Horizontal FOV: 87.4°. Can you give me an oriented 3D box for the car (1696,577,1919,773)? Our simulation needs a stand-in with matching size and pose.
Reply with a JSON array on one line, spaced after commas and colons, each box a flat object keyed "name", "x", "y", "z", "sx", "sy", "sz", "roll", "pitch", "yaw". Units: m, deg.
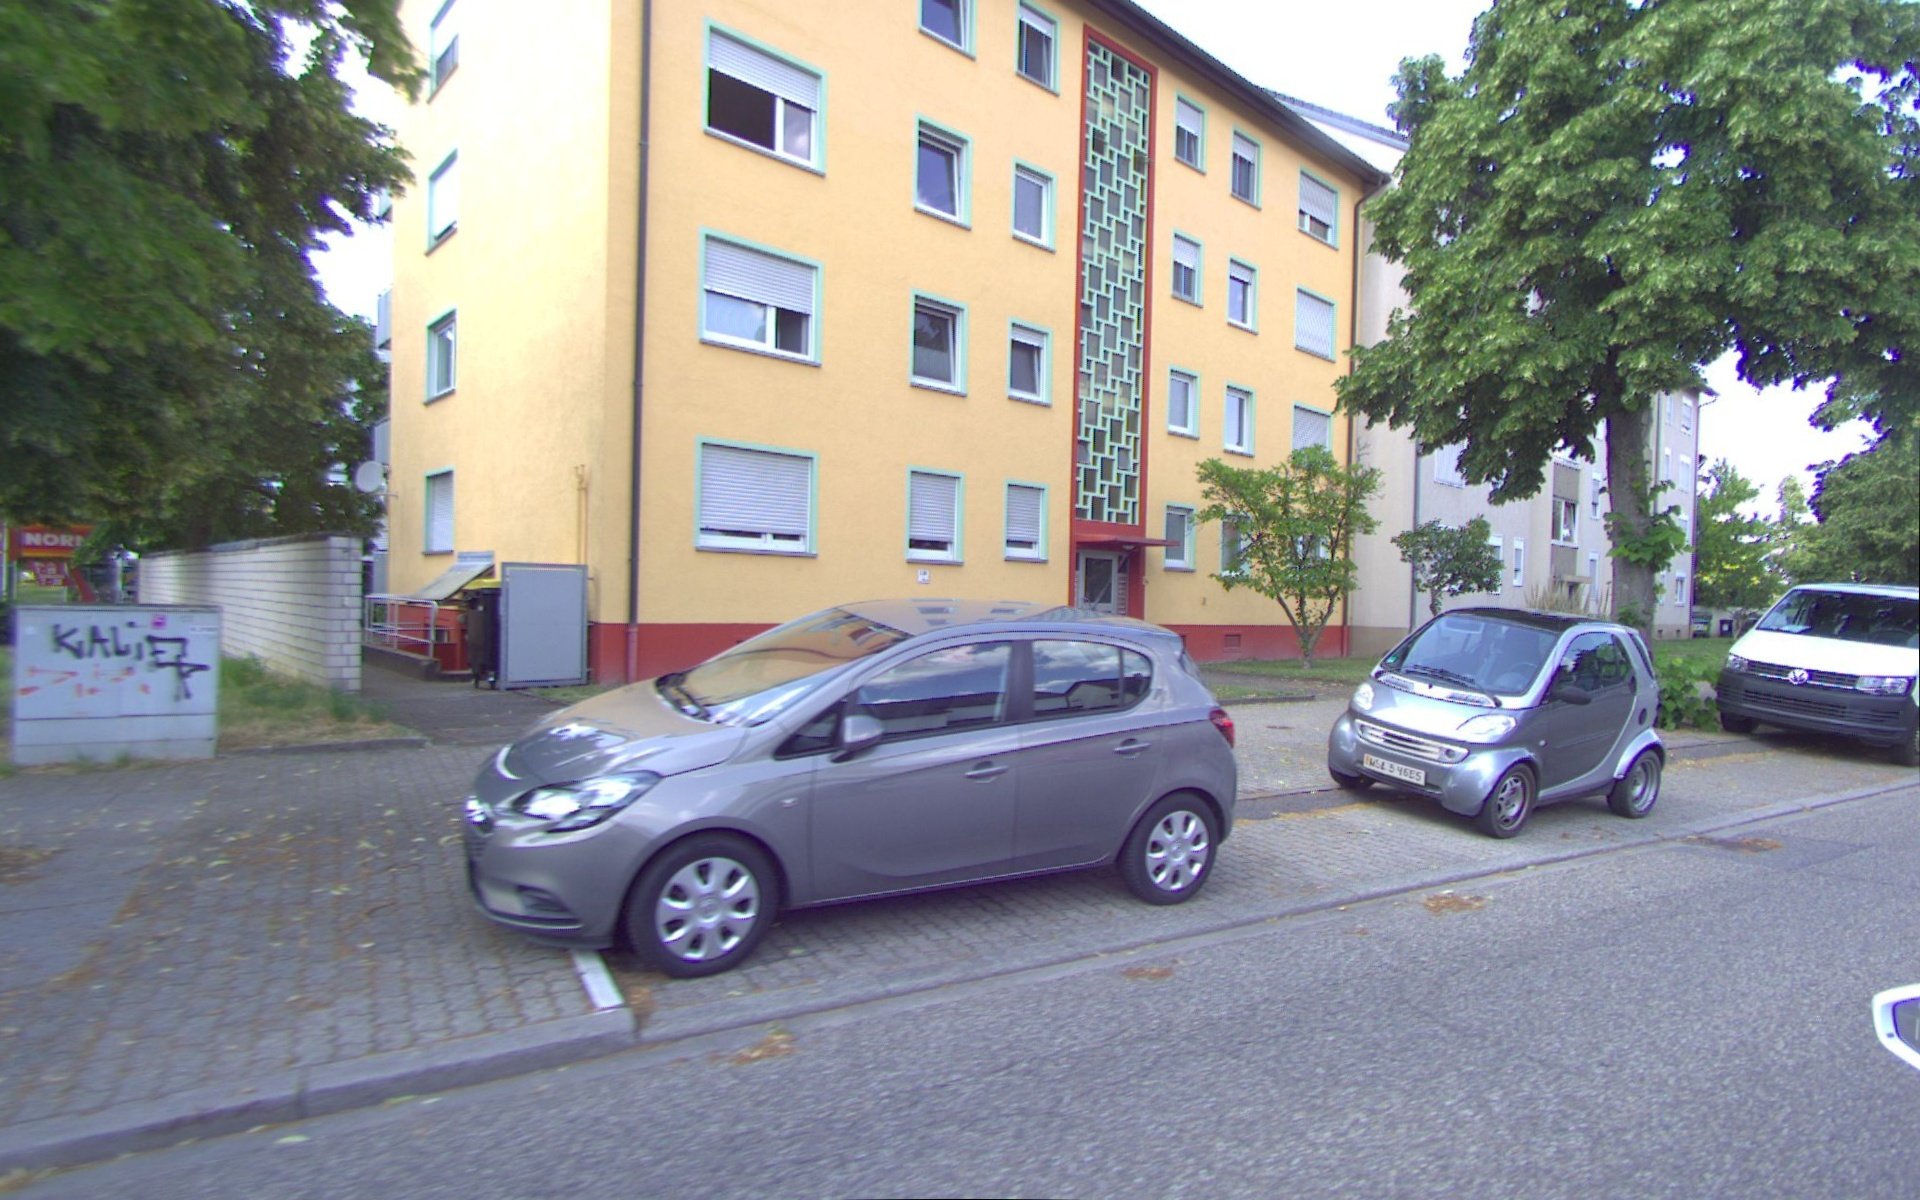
[{"name": "car", "x": 11.641, "y": 0.794, "z": 12.660, "sx": 5.260, "sy": 2.036, "sz": 1.870, "roll": 1, "pitch": 1, "yaw": -31}]

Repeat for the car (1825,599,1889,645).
[{"name": "car", "x": 55.317, "y": 1.321, "z": 62.037, "sx": 2.036, "sy": 2.534, "sz": 5.822, "roll": 6, "pitch": 3, "yaw": 34}]

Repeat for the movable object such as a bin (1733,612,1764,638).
[{"name": "movable object such as a bin", "x": 41.759, "y": 1.309, "z": 53.188, "sx": 0.872, "sy": 1.292, "sz": 1.180, "roll": -4, "pitch": 3, "yaw": -44}]

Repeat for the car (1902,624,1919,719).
[{"name": "car", "x": 17.531, "y": 1.189, "z": 16.715, "sx": 4.458, "sy": 1.509, "sz": 1.749, "roll": 1, "pitch": 0, "yaw": -34}]

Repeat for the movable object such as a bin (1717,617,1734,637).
[{"name": "movable object such as a bin", "x": 41.064, "y": 1.437, "z": 53.906, "sx": 0.872, "sy": 1.038, "sz": 0.618, "roll": -4, "pitch": 3, "yaw": -45}]

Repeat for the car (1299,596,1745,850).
[{"name": "car", "x": 4.720, "y": 0.844, "z": 8.332, "sx": 3.713, "sy": 1.570, "sz": 1.509, "roll": 1, "pitch": 5, "yaw": -32}]

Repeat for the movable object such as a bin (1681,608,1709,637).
[{"name": "movable object such as a bin", "x": 39.761, "y": 1.228, "z": 54.361, "sx": 1.179, "sy": 1.457, "sz": 1.367, "roll": 0, "pitch": 3, "yaw": 34}]

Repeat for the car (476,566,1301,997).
[{"name": "car", "x": -0.302, "y": 0.711, "z": 5.274, "sx": 3.935, "sy": 1.506, "sz": 1.676, "roll": 3, "pitch": 2, "yaw": -29}]
